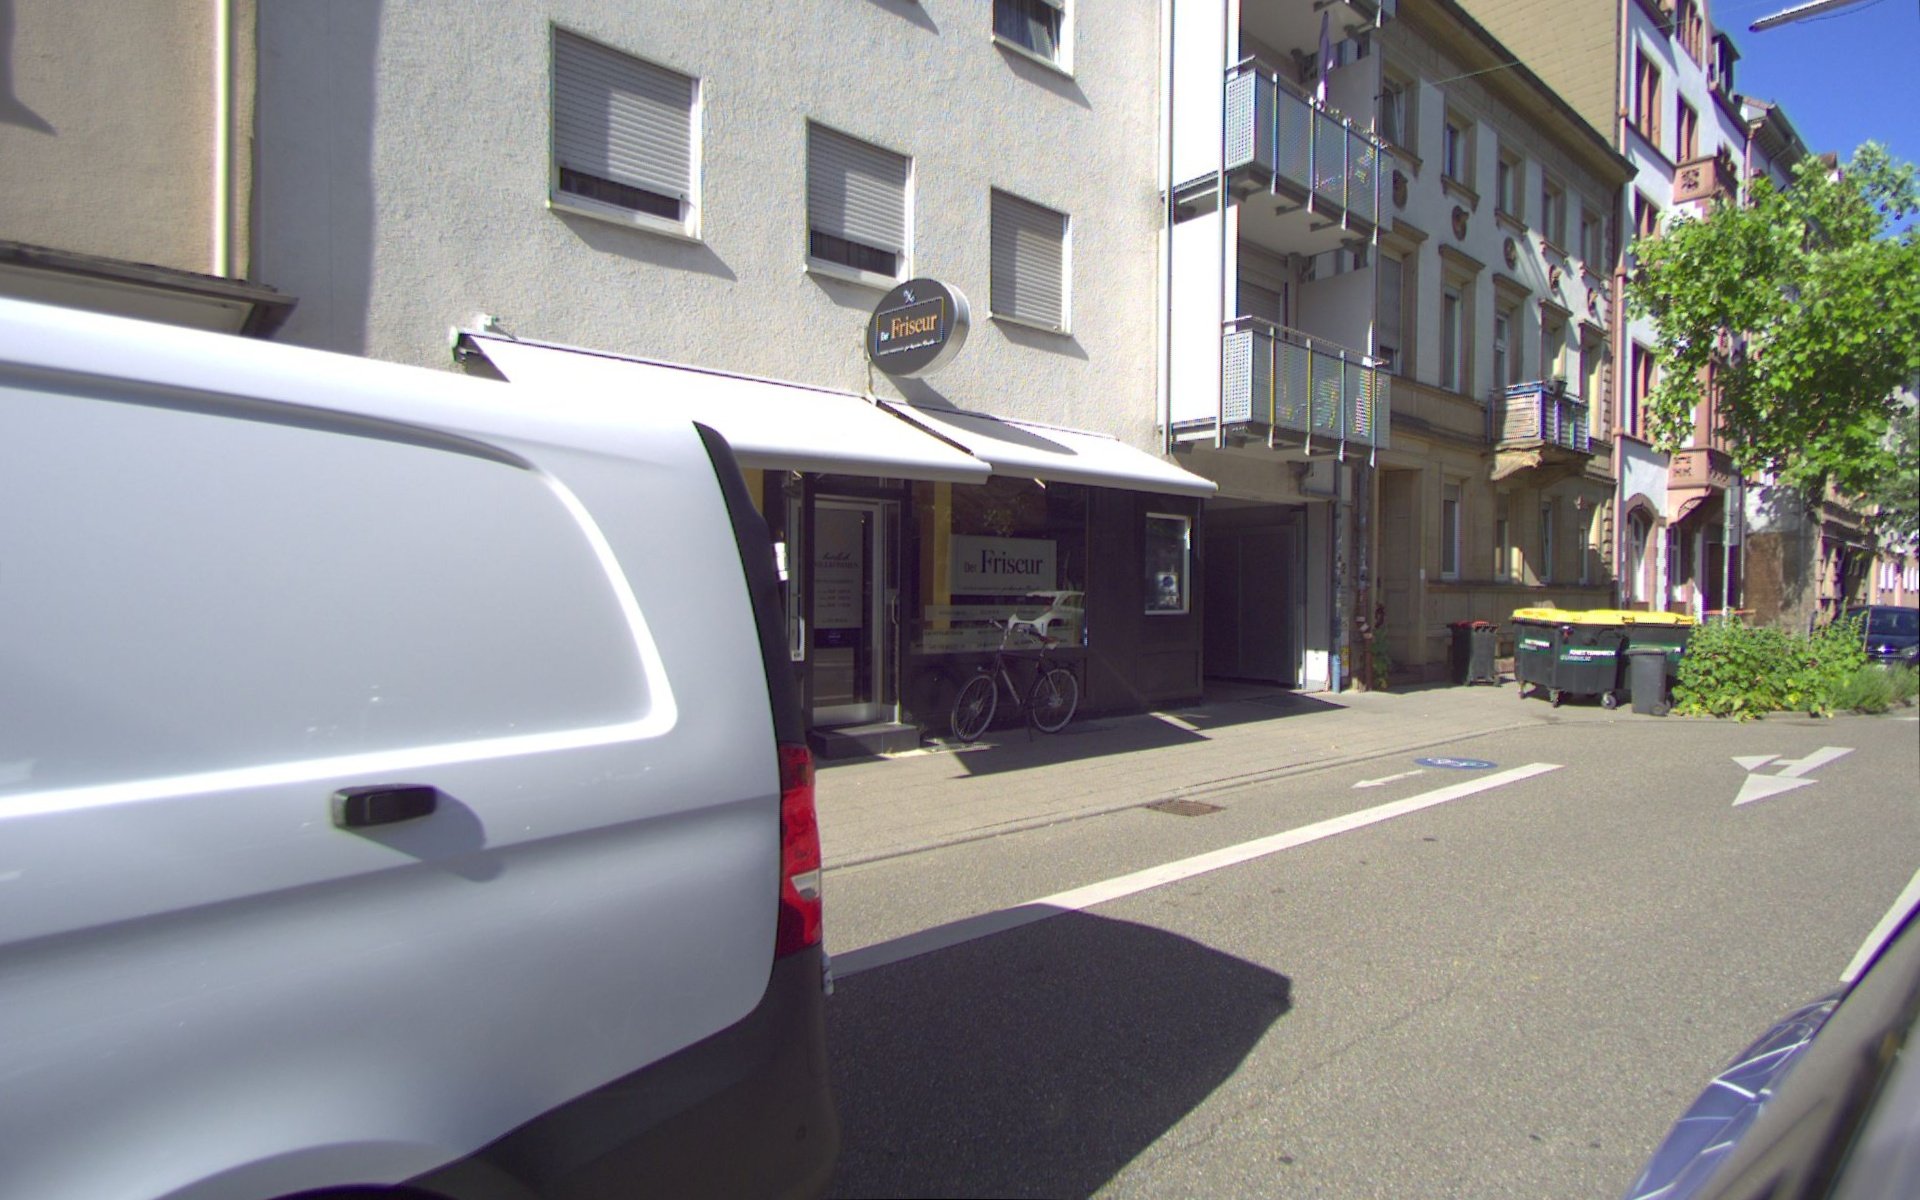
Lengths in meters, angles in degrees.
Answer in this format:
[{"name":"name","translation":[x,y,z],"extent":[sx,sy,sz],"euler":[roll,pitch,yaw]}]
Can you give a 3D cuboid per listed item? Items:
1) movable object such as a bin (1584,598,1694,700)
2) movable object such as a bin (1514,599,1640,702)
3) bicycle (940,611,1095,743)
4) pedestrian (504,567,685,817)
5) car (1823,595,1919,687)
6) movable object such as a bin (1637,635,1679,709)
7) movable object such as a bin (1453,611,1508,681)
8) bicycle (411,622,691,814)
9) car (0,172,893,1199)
[{"name":"movable object such as a bin","translation":[9.961,0.688,14.896],"extent":[0.943,1.365,1.066],"euler":[1,3,11]},{"name":"movable object such as a bin","translation":[8.845,0.703,14.573],"extent":[1.030,1.341,1.216],"euler":[1,3,1]},{"name":"bicycle","translation":[0.606,0.723,10.099],"extent":[1.760,1.193,0.402],"euler":[0,0,-41]},{"name":"pedestrian","translation":[-2.556,0.579,7.071],"extent":[0.930,1.556,0.825],"euler":[0,4,-41]},{"name":"car","translation":[16.840,0.676,18.209],"extent":[3.293,1.510,1.550],"euler":[0,1,-41]},{"name":"movable object such as a bin","translation":[9.574,0.974,13.882],"extent":[0.399,0.933,0.478],"euler":[3,3,41]},{"name":"movable object such as a bin","translation":[8.535,0.744,16.619],"extent":[0.557,1.094,0.617],"euler":[1,3,1]},{"name":"bicycle","translation":[-2.810,0.760,7.090],"extent":[1.760,1.146,0.402],"euler":[0,4,-41]},{"name":"car","translation":[-2.535,0.494,0.864],"extent":[4.912,1.892,1.838],"euler":[0,1,-43]}]
